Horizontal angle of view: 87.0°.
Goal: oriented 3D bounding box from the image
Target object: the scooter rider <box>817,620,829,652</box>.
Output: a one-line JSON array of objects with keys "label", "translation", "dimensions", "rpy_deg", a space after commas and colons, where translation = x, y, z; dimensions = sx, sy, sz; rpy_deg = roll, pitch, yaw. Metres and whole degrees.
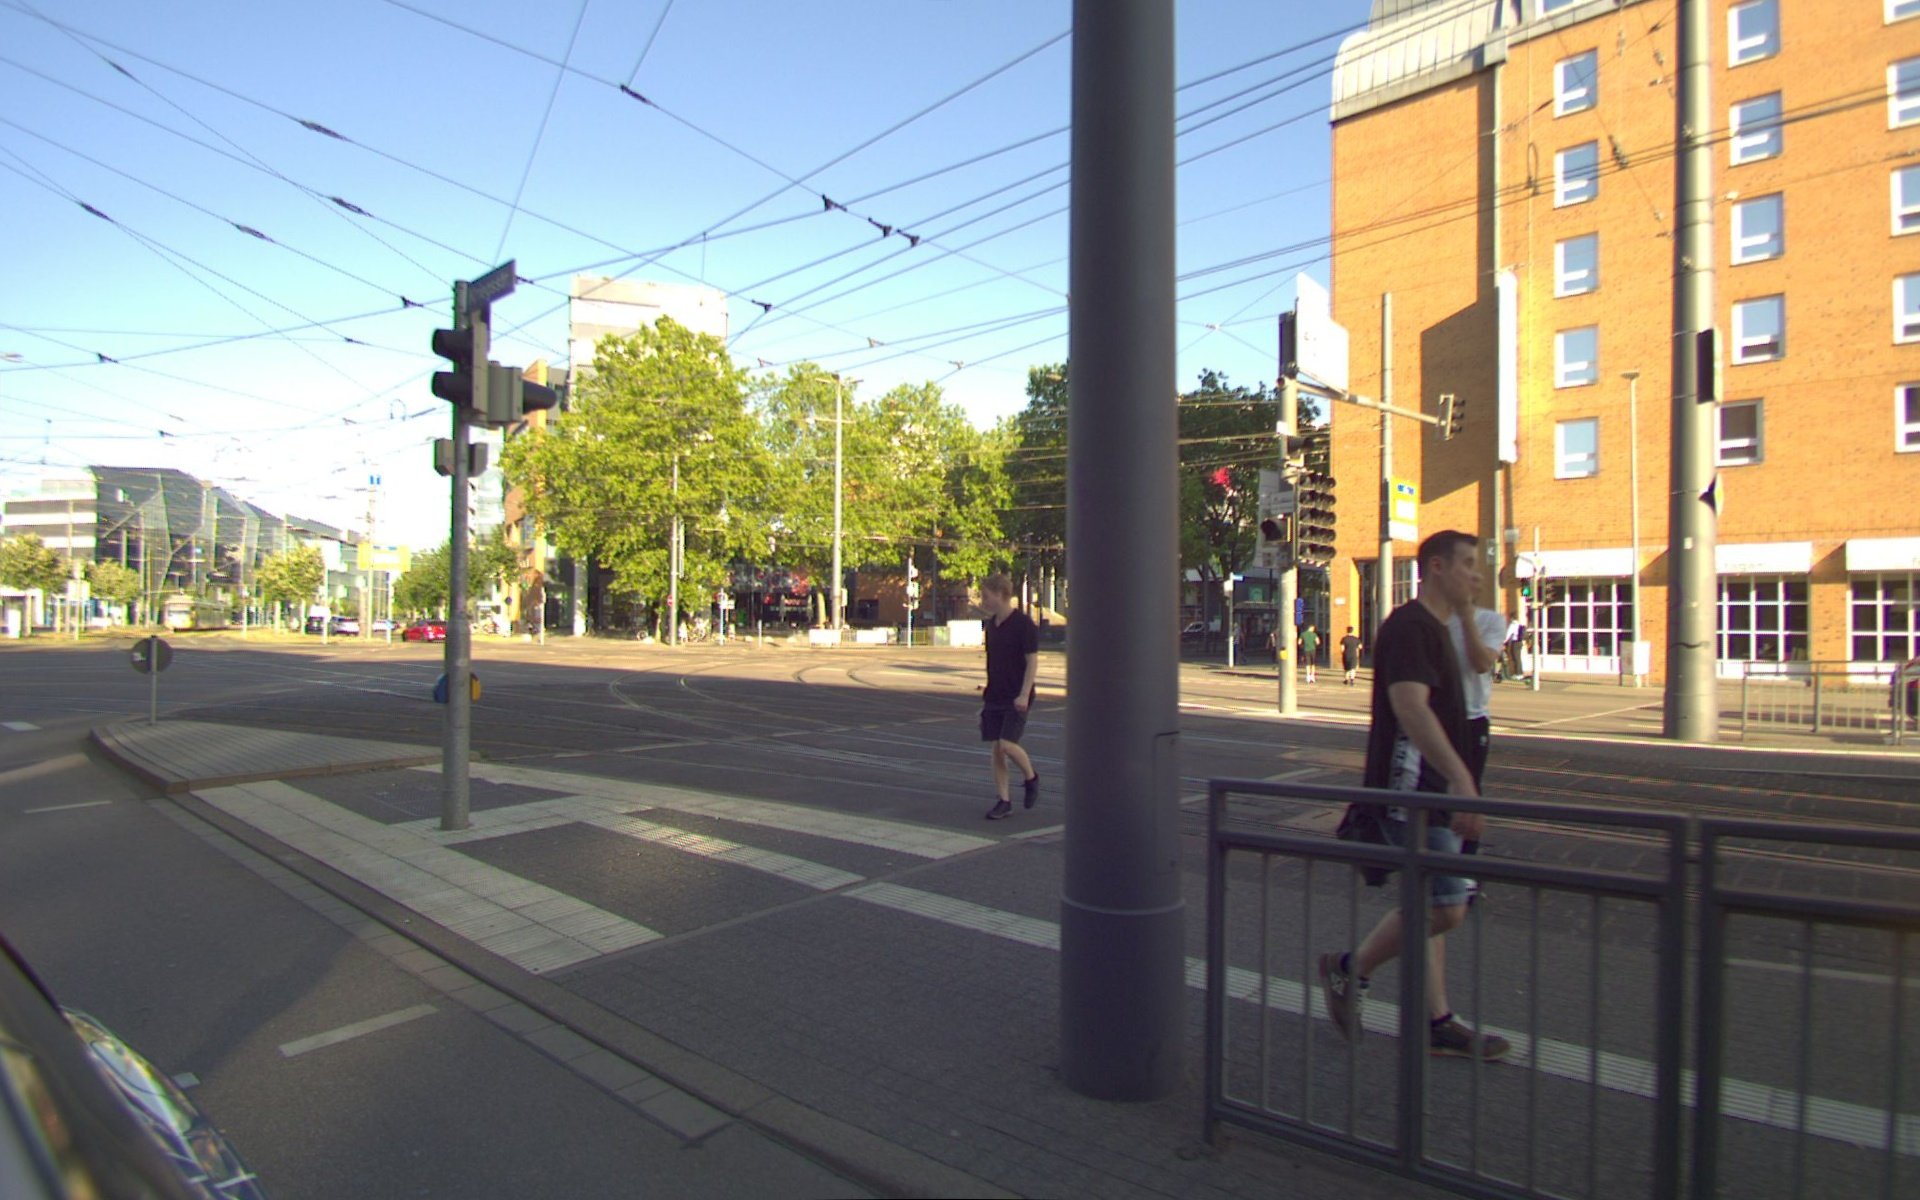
[{"label": "scooter rider", "translation": [-7.940, 2.084, 58.634], "dimensions": [0.579, 1.847, 0.765], "rpy_deg": [1, -2, -14]}]

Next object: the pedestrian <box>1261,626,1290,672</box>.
[{"label": "pedestrian", "translation": [10.991, 1.696, 35.266], "dimensions": [0.858, 1.565, 0.545], "rpy_deg": [0, -2, 4]}]

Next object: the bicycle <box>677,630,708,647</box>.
[{"label": "bicycle", "translation": [-17.874, 2.585, 67.610], "dimensions": [1.815, 1.138, 0.776], "rpy_deg": [2, -2, -42]}]

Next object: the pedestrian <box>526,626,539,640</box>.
[{"label": "pedestrian", "translation": [-35.225, 2.714, 83.329], "dimensions": [0.681, 1.089, 0.766], "rpy_deg": [-1, -2, 40]}]

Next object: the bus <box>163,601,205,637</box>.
[{"label": "bus", "translation": [-77.830, 2.016, 101.392], "dimensions": [2.684, 3.434, 9.681], "rpy_deg": [2, -3, -41]}]

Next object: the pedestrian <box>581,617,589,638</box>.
[{"label": "pedestrian", "translation": [-29.596, 2.192, 79.857], "dimensions": [0.585, 1.669, 0.595], "rpy_deg": [1, -2, -20]}]

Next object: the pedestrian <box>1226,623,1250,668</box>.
[{"label": "pedestrian", "translation": [11.909, 1.927, 43.341], "dimensions": [0.733, 1.909, 0.650], "rpy_deg": [1, -2, -16]}]

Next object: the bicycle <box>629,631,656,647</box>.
[{"label": "bicycle", "translation": [-21.528, 2.662, 68.598], "dimensions": [1.672, 1.044, 0.550], "rpy_deg": [2, -2, -38]}]

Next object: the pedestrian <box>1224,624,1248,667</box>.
[{"label": "pedestrian", "translation": [11.582, 1.903, 42.443], "dimensions": [0.693, 1.756, 0.650], "rpy_deg": [1, -2, -27]}]

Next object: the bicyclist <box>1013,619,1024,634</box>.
[{"label": "bicyclist", "translation": [5.473, 2.501, 94.651], "dimensions": [0.943, 1.355, 0.677], "rpy_deg": [1, -2, -12]}]

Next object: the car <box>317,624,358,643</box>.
[{"label": "car", "translation": [-47.529, 2.550, 77.267], "dimensions": [3.999, 1.463, 1.613], "rpy_deg": [-2, -3, 42]}]

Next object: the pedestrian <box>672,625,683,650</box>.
[{"label": "pedestrian", "translation": [-17.461, 2.295, 62.579], "dimensions": [0.477, 1.550, 0.573], "rpy_deg": [1, -2, -3]}]

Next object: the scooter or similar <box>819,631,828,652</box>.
[{"label": "scooter or similar", "translation": [-7.931, 2.389, 58.655], "dimensions": [0.448, 1.188, 1.162], "rpy_deg": [1, -2, -11]}]

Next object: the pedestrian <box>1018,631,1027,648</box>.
[{"label": "pedestrian", "translation": [3.847, 2.395, 61.881], "dimensions": [0.406, 1.040, 0.373], "rpy_deg": [-1, -2, 45]}]

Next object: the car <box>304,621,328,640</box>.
[{"label": "car", "translation": [-60.486, 2.856, 95.127], "dimensions": [1.591, 1.615, 4.188], "rpy_deg": [4, -5, -29]}]

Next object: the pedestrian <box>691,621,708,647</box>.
[{"label": "pedestrian", "translation": [-18.024, 2.370, 69.916], "dimensions": [0.879, 1.778, 0.732], "rpy_deg": [2, -4, -40]}]

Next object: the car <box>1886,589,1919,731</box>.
[{"label": "car", "translation": [17.949, 0.977, 15.636], "dimensions": [5.262, 2.306, 2.057], "rpy_deg": [-1, -2, 41]}]

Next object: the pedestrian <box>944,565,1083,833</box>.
[{"label": "pedestrian", "translation": [0.362, 0.643, 6.967], "dimensions": [0.614, 1.715, 0.751], "rpy_deg": [2, -2, -37]}]

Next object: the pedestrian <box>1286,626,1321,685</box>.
[{"label": "pedestrian", "translation": [10.264, 1.650, 30.250], "dimensions": [0.630, 1.731, 0.780], "rpy_deg": [1, -2, -19]}]

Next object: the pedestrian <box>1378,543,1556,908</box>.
[{"label": "pedestrian", "translation": [2.605, 0.601, 5.269], "dimensions": [0.773, 1.731, 0.636], "rpy_deg": [0, -2, 25]}]

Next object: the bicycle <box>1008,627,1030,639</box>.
[{"label": "bicycle", "translation": [5.532, 3.119, 94.642], "dimensions": [1.982, 1.075, 0.697], "rpy_deg": [1, -2, -11]}]

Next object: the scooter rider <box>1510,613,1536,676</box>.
[{"label": "scooter rider", "translation": [16.120, 1.273, 28.997], "dimensions": [0.567, 1.768, 0.530], "rpy_deg": [0, -2, 20]}]

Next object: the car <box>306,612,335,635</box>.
[{"label": "car", "translation": [-71.837, 2.666, 113.733], "dimensions": [1.965, 2.499, 5.993], "rpy_deg": [1, -3, -26]}]

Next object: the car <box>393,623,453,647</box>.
[{"label": "car", "translation": [-33.056, 2.169, 62.253], "dimensions": [3.991, 1.439, 1.672], "rpy_deg": [-1, -3, 36]}]

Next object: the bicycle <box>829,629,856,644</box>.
[{"label": "bicycle", "translation": [-8.890, 2.754, 76.475], "dimensions": [1.915, 1.072, 0.785], "rpy_deg": [2, -2, -38]}]

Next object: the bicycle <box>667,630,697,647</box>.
[{"label": "bicycle", "translation": [-18.955, 2.642, 68.942], "dimensions": [1.815, 1.138, 0.776], "rpy_deg": [2, -2, -42]}]

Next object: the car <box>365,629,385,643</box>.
[{"label": "car", "translation": [-69.685, 4.251, 120.471], "dimensions": [1.834, 1.644, 4.274], "rpy_deg": [1, -2, -33]}]

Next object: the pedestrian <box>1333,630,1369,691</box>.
[{"label": "pedestrian", "translation": [11.289, 1.747, 29.225], "dimensions": [0.630, 1.731, 0.780], "rpy_deg": [1, -2, -19]}]

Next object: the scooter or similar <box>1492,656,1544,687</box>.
[{"label": "scooter or similar", "translation": [15.994, 2.029, 29.014], "dimensions": [1.230, 0.837, 0.541], "rpy_deg": [0, -2, 20]}]

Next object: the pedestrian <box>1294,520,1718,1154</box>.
[{"label": "pedestrian", "translation": [1.473, 0.583, 2.896], "dimensions": [0.841, 1.550, 0.714], "rpy_deg": [0, -2, 6]}]

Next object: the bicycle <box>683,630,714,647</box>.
[{"label": "bicycle", "translation": [-17.311, 2.559, 66.974], "dimensions": [1.815, 1.138, 0.776], "rpy_deg": [2, -2, -42]}]

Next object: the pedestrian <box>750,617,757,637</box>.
[{"label": "pedestrian", "translation": [-17.632, 2.312, 86.439], "dimensions": [0.535, 1.682, 0.571], "rpy_deg": [1, -2, -9]}]

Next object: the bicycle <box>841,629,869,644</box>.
[{"label": "bicycle", "translation": [-7.766, 2.692, 75.004], "dimensions": [1.915, 1.072, 0.785], "rpy_deg": [2, -2, -38]}]

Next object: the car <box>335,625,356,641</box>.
[{"label": "car", "translation": [-78.603, 4.184, 129.511], "dimensions": [1.584, 2.029, 3.899], "rpy_deg": [1, -2, -21]}]
